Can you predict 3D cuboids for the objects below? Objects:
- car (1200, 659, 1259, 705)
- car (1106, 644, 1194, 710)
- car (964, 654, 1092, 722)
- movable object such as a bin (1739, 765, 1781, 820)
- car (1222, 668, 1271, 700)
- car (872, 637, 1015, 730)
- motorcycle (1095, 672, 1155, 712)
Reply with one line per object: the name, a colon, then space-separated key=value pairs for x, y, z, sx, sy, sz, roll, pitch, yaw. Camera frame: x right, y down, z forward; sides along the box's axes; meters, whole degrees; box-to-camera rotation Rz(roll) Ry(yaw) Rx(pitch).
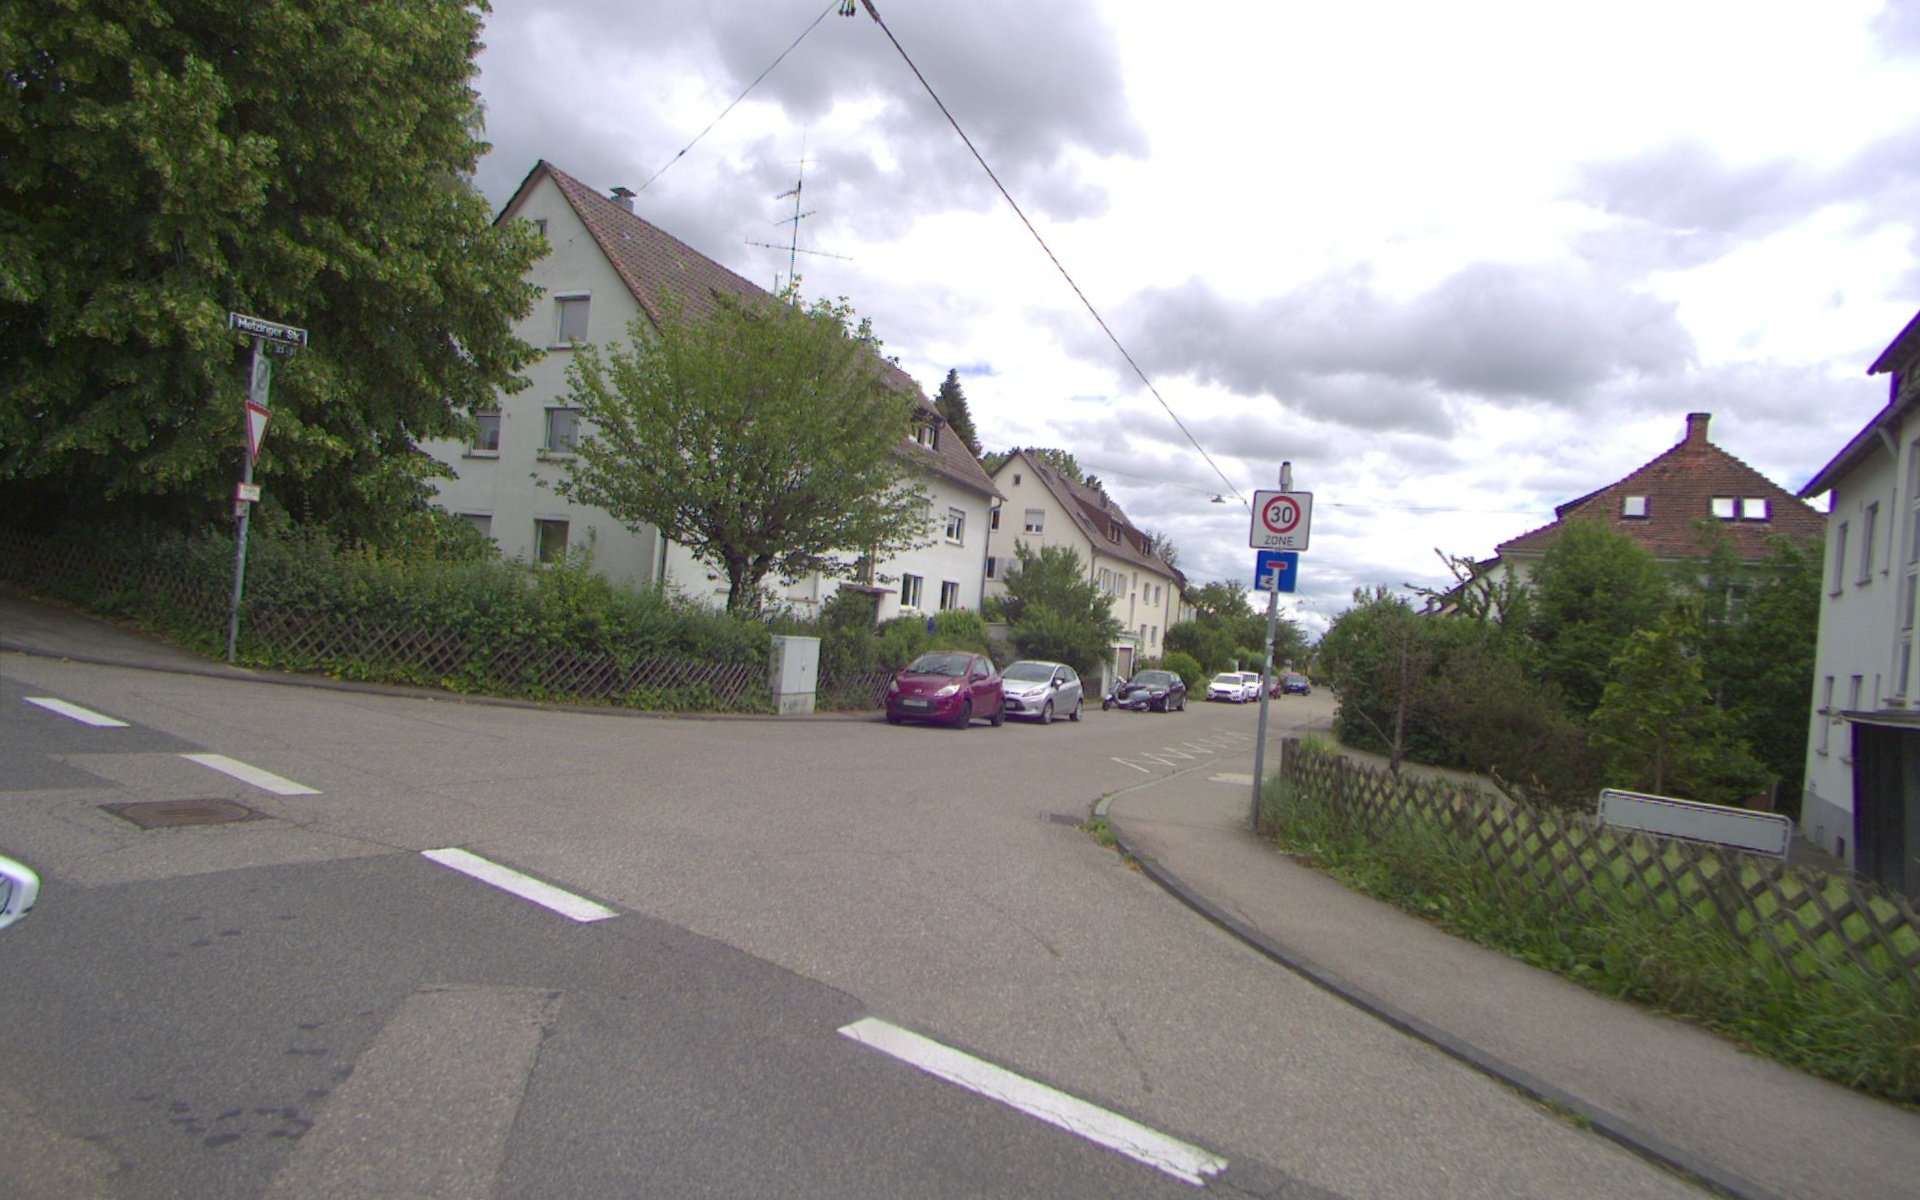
car: x=13.974 y=4.285 z=52.096 sx=1.965 sy=2.037 sz=3.999 roll=7 pitch=-2 yaw=27
car: x=6.910 y=2.813 z=36.289 sx=1.965 sy=2.036 sz=3.999 roll=5 pitch=-3 yaw=26
car: x=1.756 y=2.177 z=24.727 sx=1.811 sy=1.385 sz=3.740 roll=4 pitch=-3 yaw=25
movable object such as a bin: x=19.404 y=4.662 z=24.410 sx=0.626 sy=1.184 sz=0.563 roll=7 pitch=-1 yaw=34
car: x=16.339 y=4.787 z=57.198 sx=1.751 sy=1.529 sz=3.998 roll=7 pitch=-2 yaw=28
car: x=-0.232 y=1.703 z=20.460 sx=1.656 sy=1.581 sz=3.713 roll=3 pitch=-4 yaw=19
motorcycle: x=5.464 y=3.055 z=33.399 sx=1.788 sy=1.151 sz=0.536 roll=6 pitch=-1 yaw=-10
